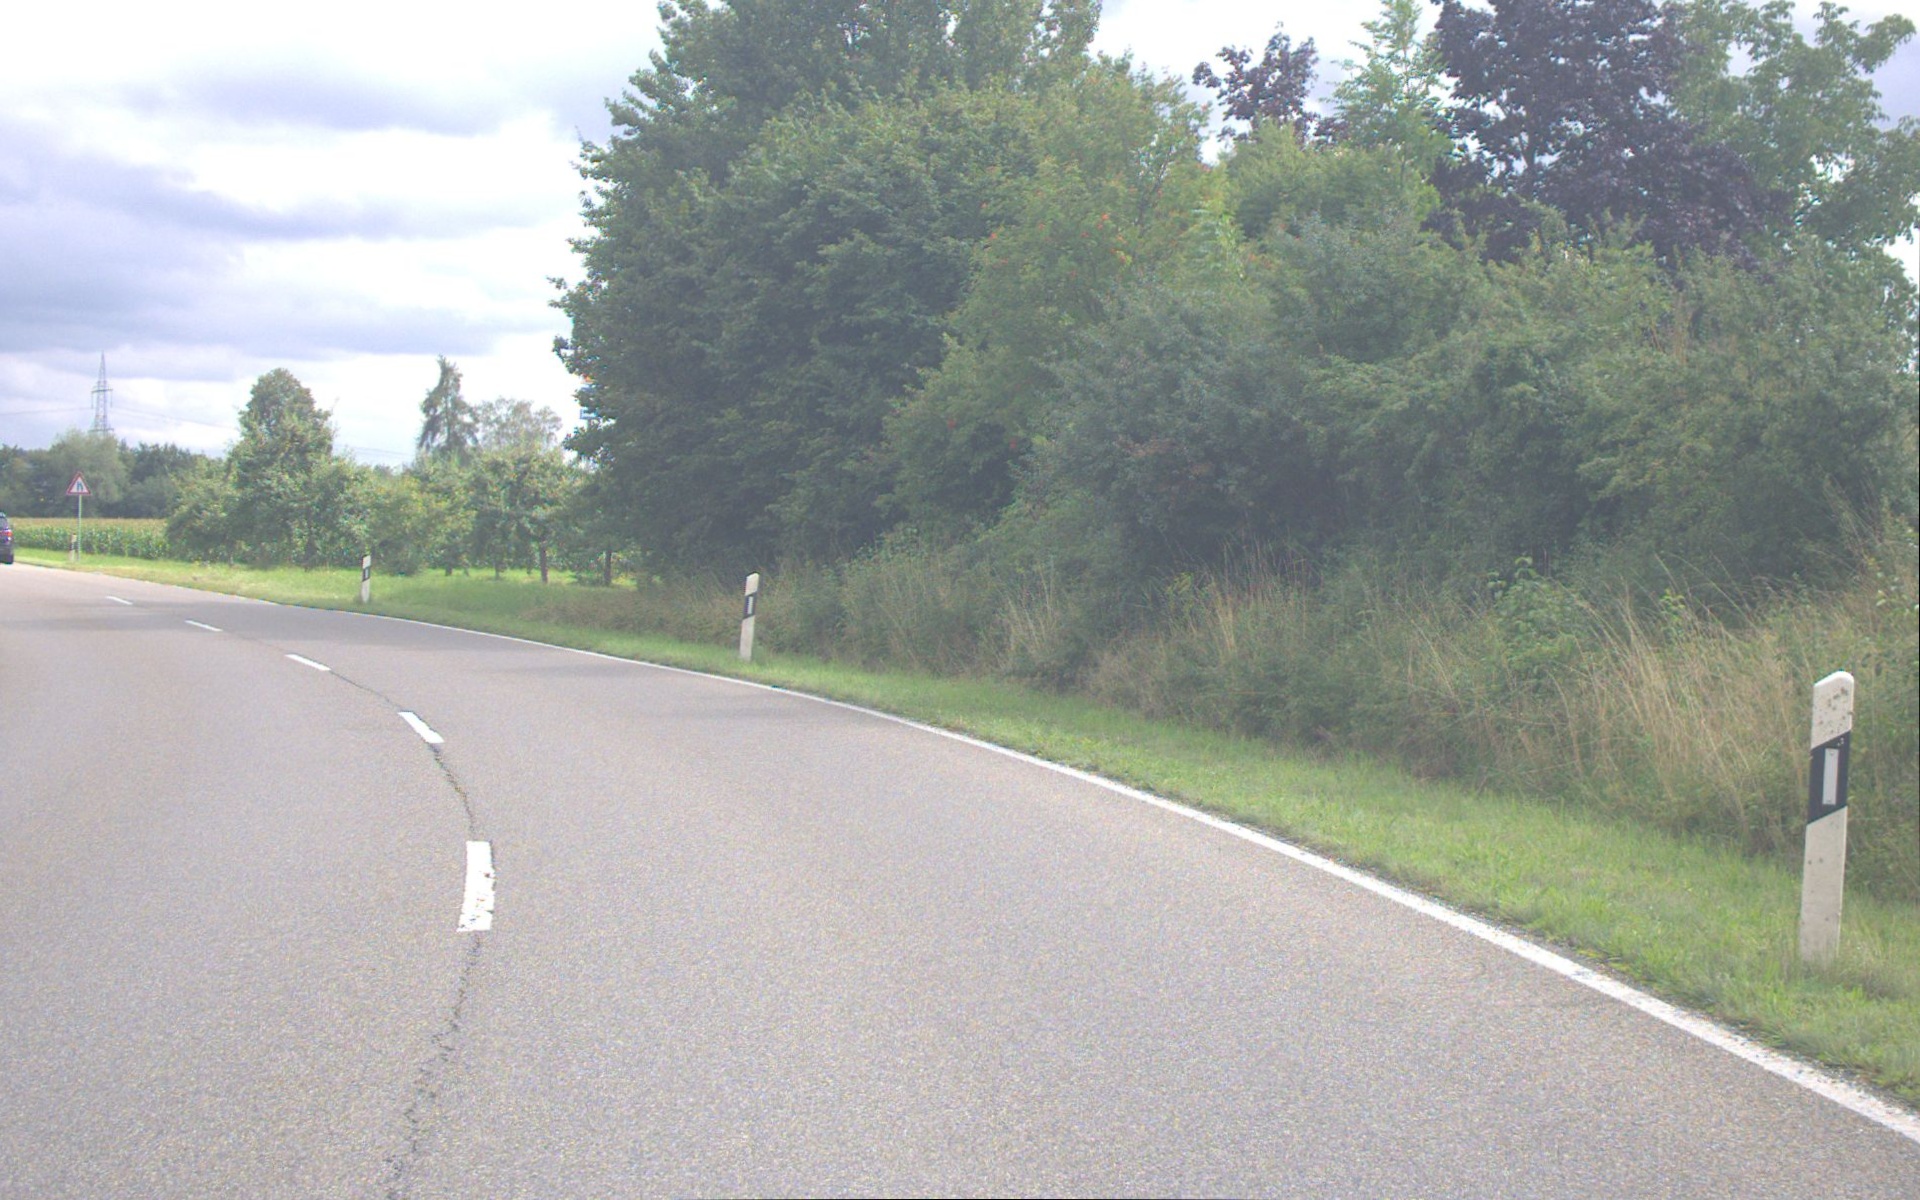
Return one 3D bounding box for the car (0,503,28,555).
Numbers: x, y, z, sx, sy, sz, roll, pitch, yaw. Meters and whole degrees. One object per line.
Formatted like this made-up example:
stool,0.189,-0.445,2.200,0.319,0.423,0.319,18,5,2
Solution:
car,-31.699,-2.328,112.502,1.906,1.660,4.001,0,1,-21
